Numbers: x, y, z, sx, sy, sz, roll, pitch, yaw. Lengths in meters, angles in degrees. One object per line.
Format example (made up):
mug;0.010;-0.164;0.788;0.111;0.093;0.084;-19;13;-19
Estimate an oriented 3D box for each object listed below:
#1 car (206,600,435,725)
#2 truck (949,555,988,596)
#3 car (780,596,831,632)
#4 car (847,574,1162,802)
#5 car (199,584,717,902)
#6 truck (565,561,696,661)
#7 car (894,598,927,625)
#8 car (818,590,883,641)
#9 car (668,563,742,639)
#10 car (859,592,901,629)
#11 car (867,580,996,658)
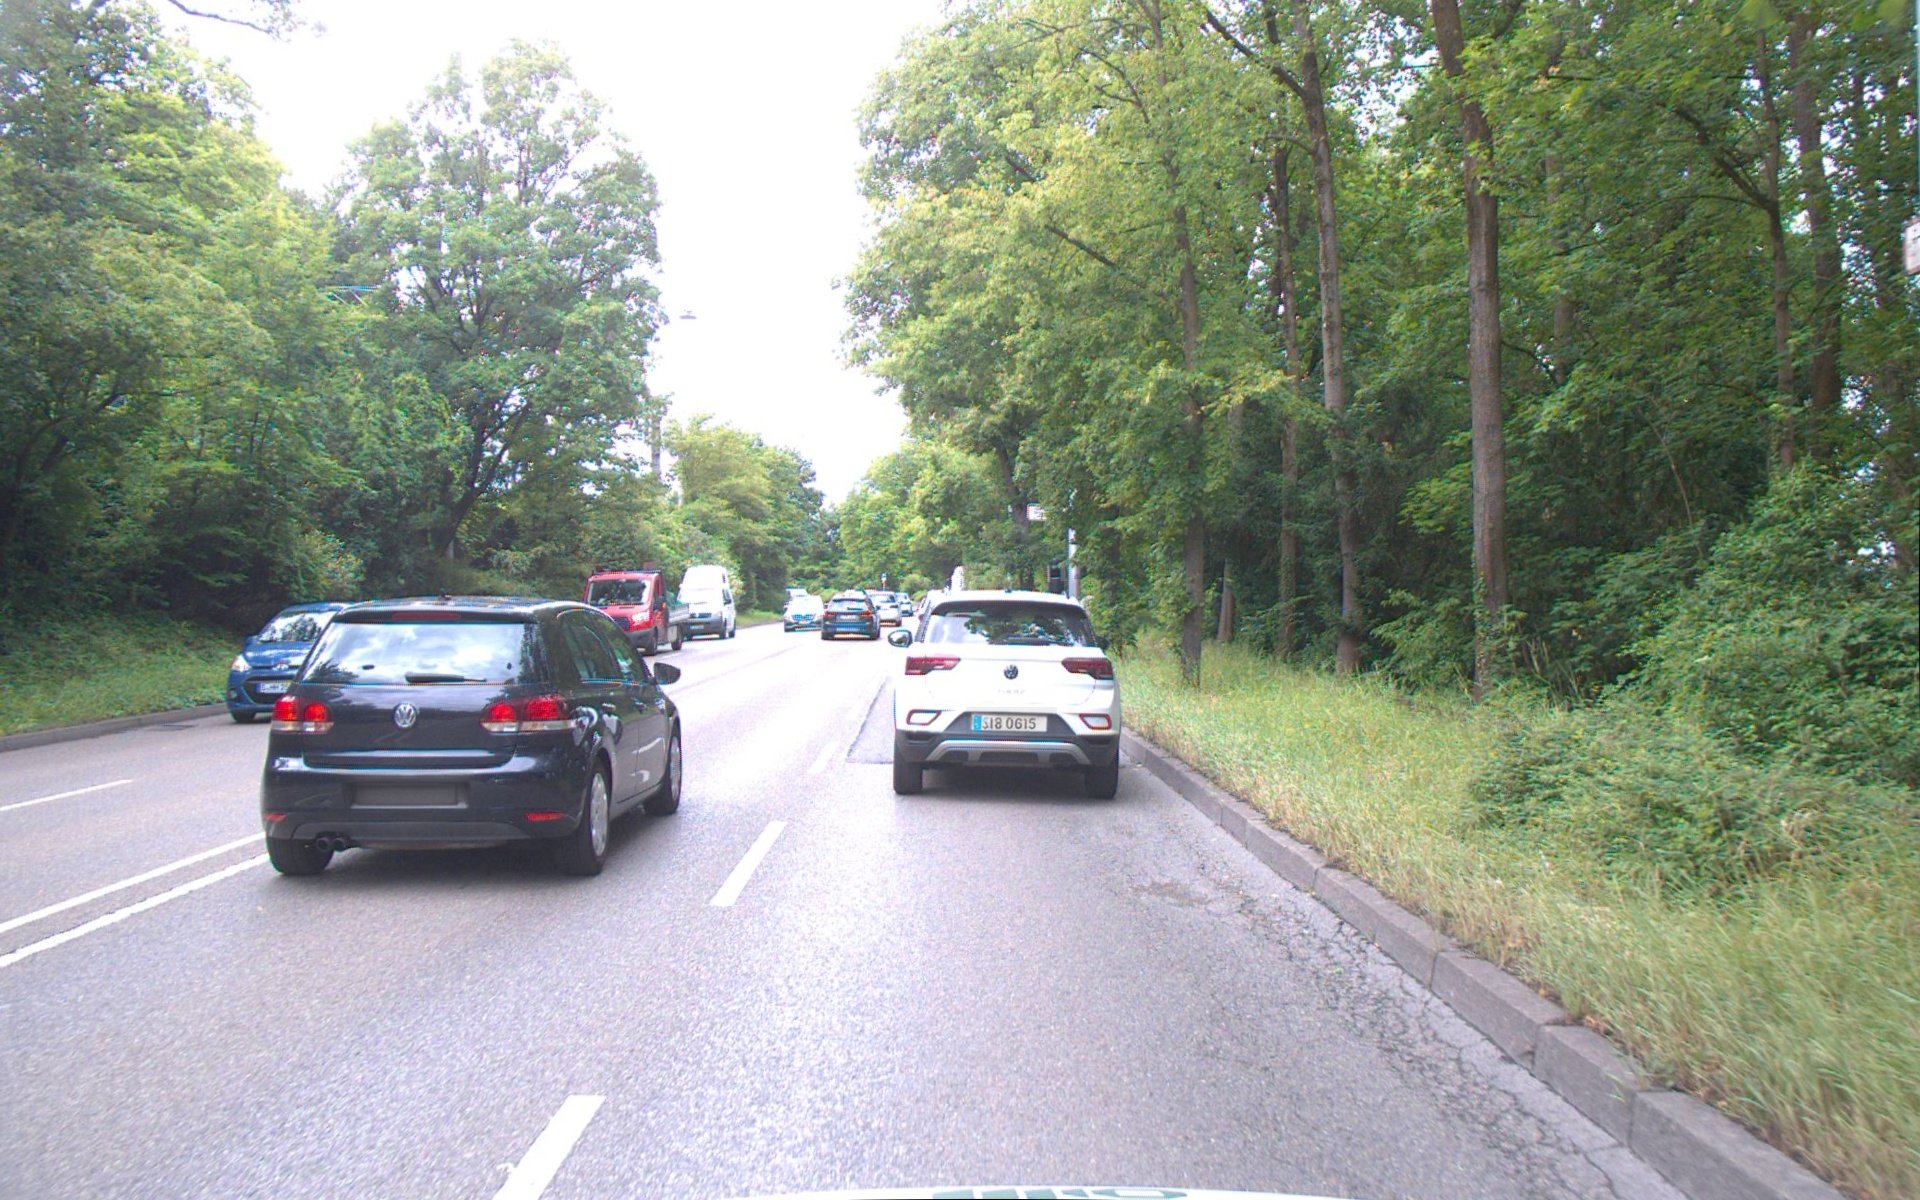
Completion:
car;-8.579;0.786;22.548;1.636;1.512;3.998;-1;0;-2
truck;0.643;-1.948;135.695;2.434;3.237;7.219;1;0;-6
car;-6.555;0.584;70.642;1.801;1.491;4.465;1;0;-1
car;0.198;0.645;13.882;1.963;1.624;3.992;1;0;-9
car;-2.697;0.696;9.933;1.910;1.492;3.999;1;0;-1
truck;-8.926;0.298;45.472;2.132;2.453;6.465;-3;0;1
car;-3.150;0.708;104.803;1.954;1.654;3.997;1;0;-3
car;-3.646;0.512;55.537;1.953;1.620;3.999;1;0;-1
car;-9.268;0.037;60.435;1.849;2.600;4.914;2;0;0
car;-3.702;0.482;77.168;1.784;1.651;3.999;1;0;-1
car;-0.764;0.430;40.773;1.826;1.732;3.973;-3;1;-22
